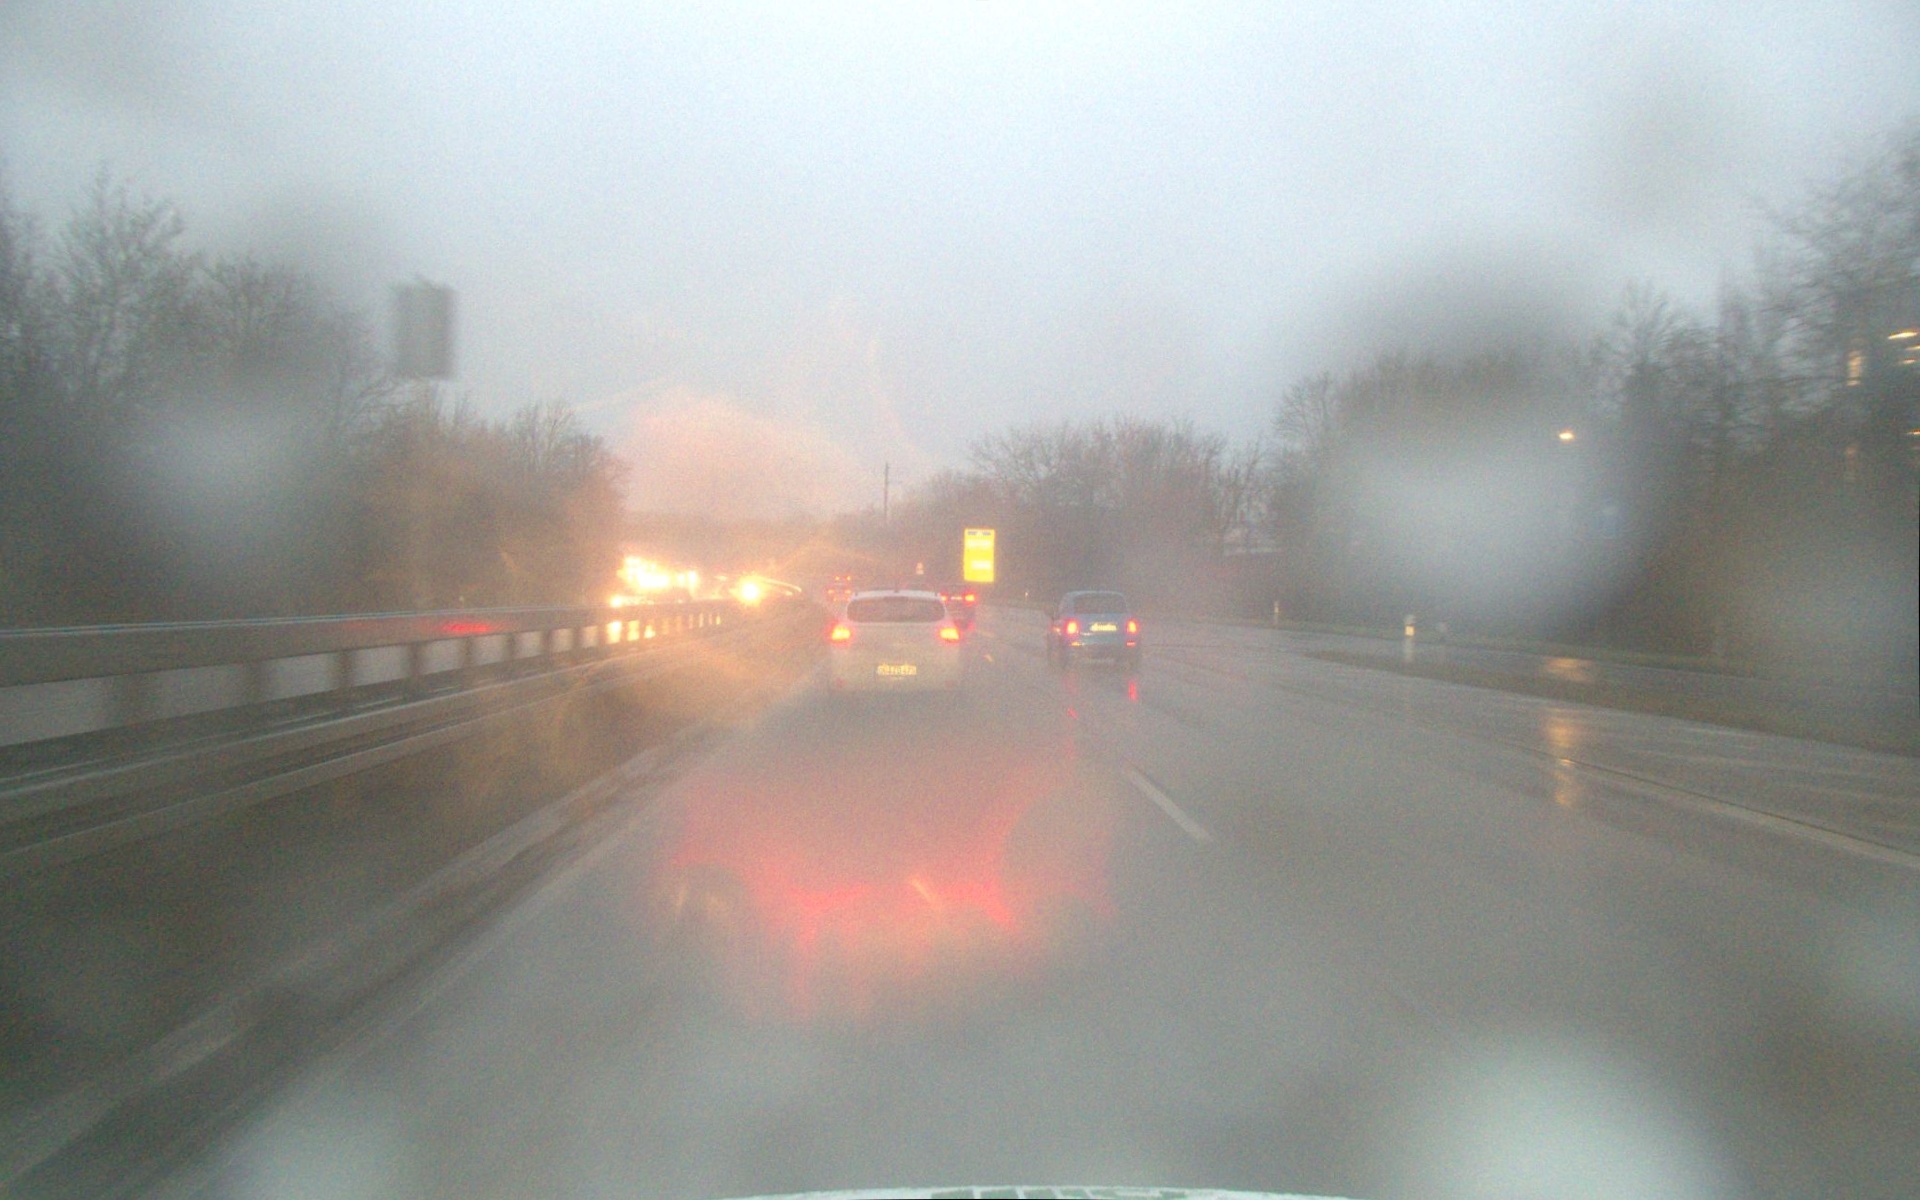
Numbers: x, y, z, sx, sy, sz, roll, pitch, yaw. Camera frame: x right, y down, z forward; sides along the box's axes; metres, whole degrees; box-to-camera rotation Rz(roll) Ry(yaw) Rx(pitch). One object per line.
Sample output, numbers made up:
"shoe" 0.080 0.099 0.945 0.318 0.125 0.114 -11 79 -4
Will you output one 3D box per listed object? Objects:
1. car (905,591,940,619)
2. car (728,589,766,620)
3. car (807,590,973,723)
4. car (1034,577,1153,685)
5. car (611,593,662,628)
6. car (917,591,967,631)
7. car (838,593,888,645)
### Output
"car" -2.242 0.275 98.307 1.894 1.573 3.771 1 0 -3
"car" -10.653 0.202 82.956 1.584 1.510 4.596 1 0 -4
"car" -0.841 0.686 22.274 1.983 1.602 4.000 1 0 1
"car" 2.671 0.600 33.826 1.894 2.055 3.771 1 0 -4
"car" -15.185 0.469 77.862 1.670 1.593 4.847 1 0 -4
"car" -0.846 0.511 75.699 1.895 1.573 3.770 -5 0 -4
"car" -3.942 0.746 67.200 1.954 2.049 3.997 1 0 -3
